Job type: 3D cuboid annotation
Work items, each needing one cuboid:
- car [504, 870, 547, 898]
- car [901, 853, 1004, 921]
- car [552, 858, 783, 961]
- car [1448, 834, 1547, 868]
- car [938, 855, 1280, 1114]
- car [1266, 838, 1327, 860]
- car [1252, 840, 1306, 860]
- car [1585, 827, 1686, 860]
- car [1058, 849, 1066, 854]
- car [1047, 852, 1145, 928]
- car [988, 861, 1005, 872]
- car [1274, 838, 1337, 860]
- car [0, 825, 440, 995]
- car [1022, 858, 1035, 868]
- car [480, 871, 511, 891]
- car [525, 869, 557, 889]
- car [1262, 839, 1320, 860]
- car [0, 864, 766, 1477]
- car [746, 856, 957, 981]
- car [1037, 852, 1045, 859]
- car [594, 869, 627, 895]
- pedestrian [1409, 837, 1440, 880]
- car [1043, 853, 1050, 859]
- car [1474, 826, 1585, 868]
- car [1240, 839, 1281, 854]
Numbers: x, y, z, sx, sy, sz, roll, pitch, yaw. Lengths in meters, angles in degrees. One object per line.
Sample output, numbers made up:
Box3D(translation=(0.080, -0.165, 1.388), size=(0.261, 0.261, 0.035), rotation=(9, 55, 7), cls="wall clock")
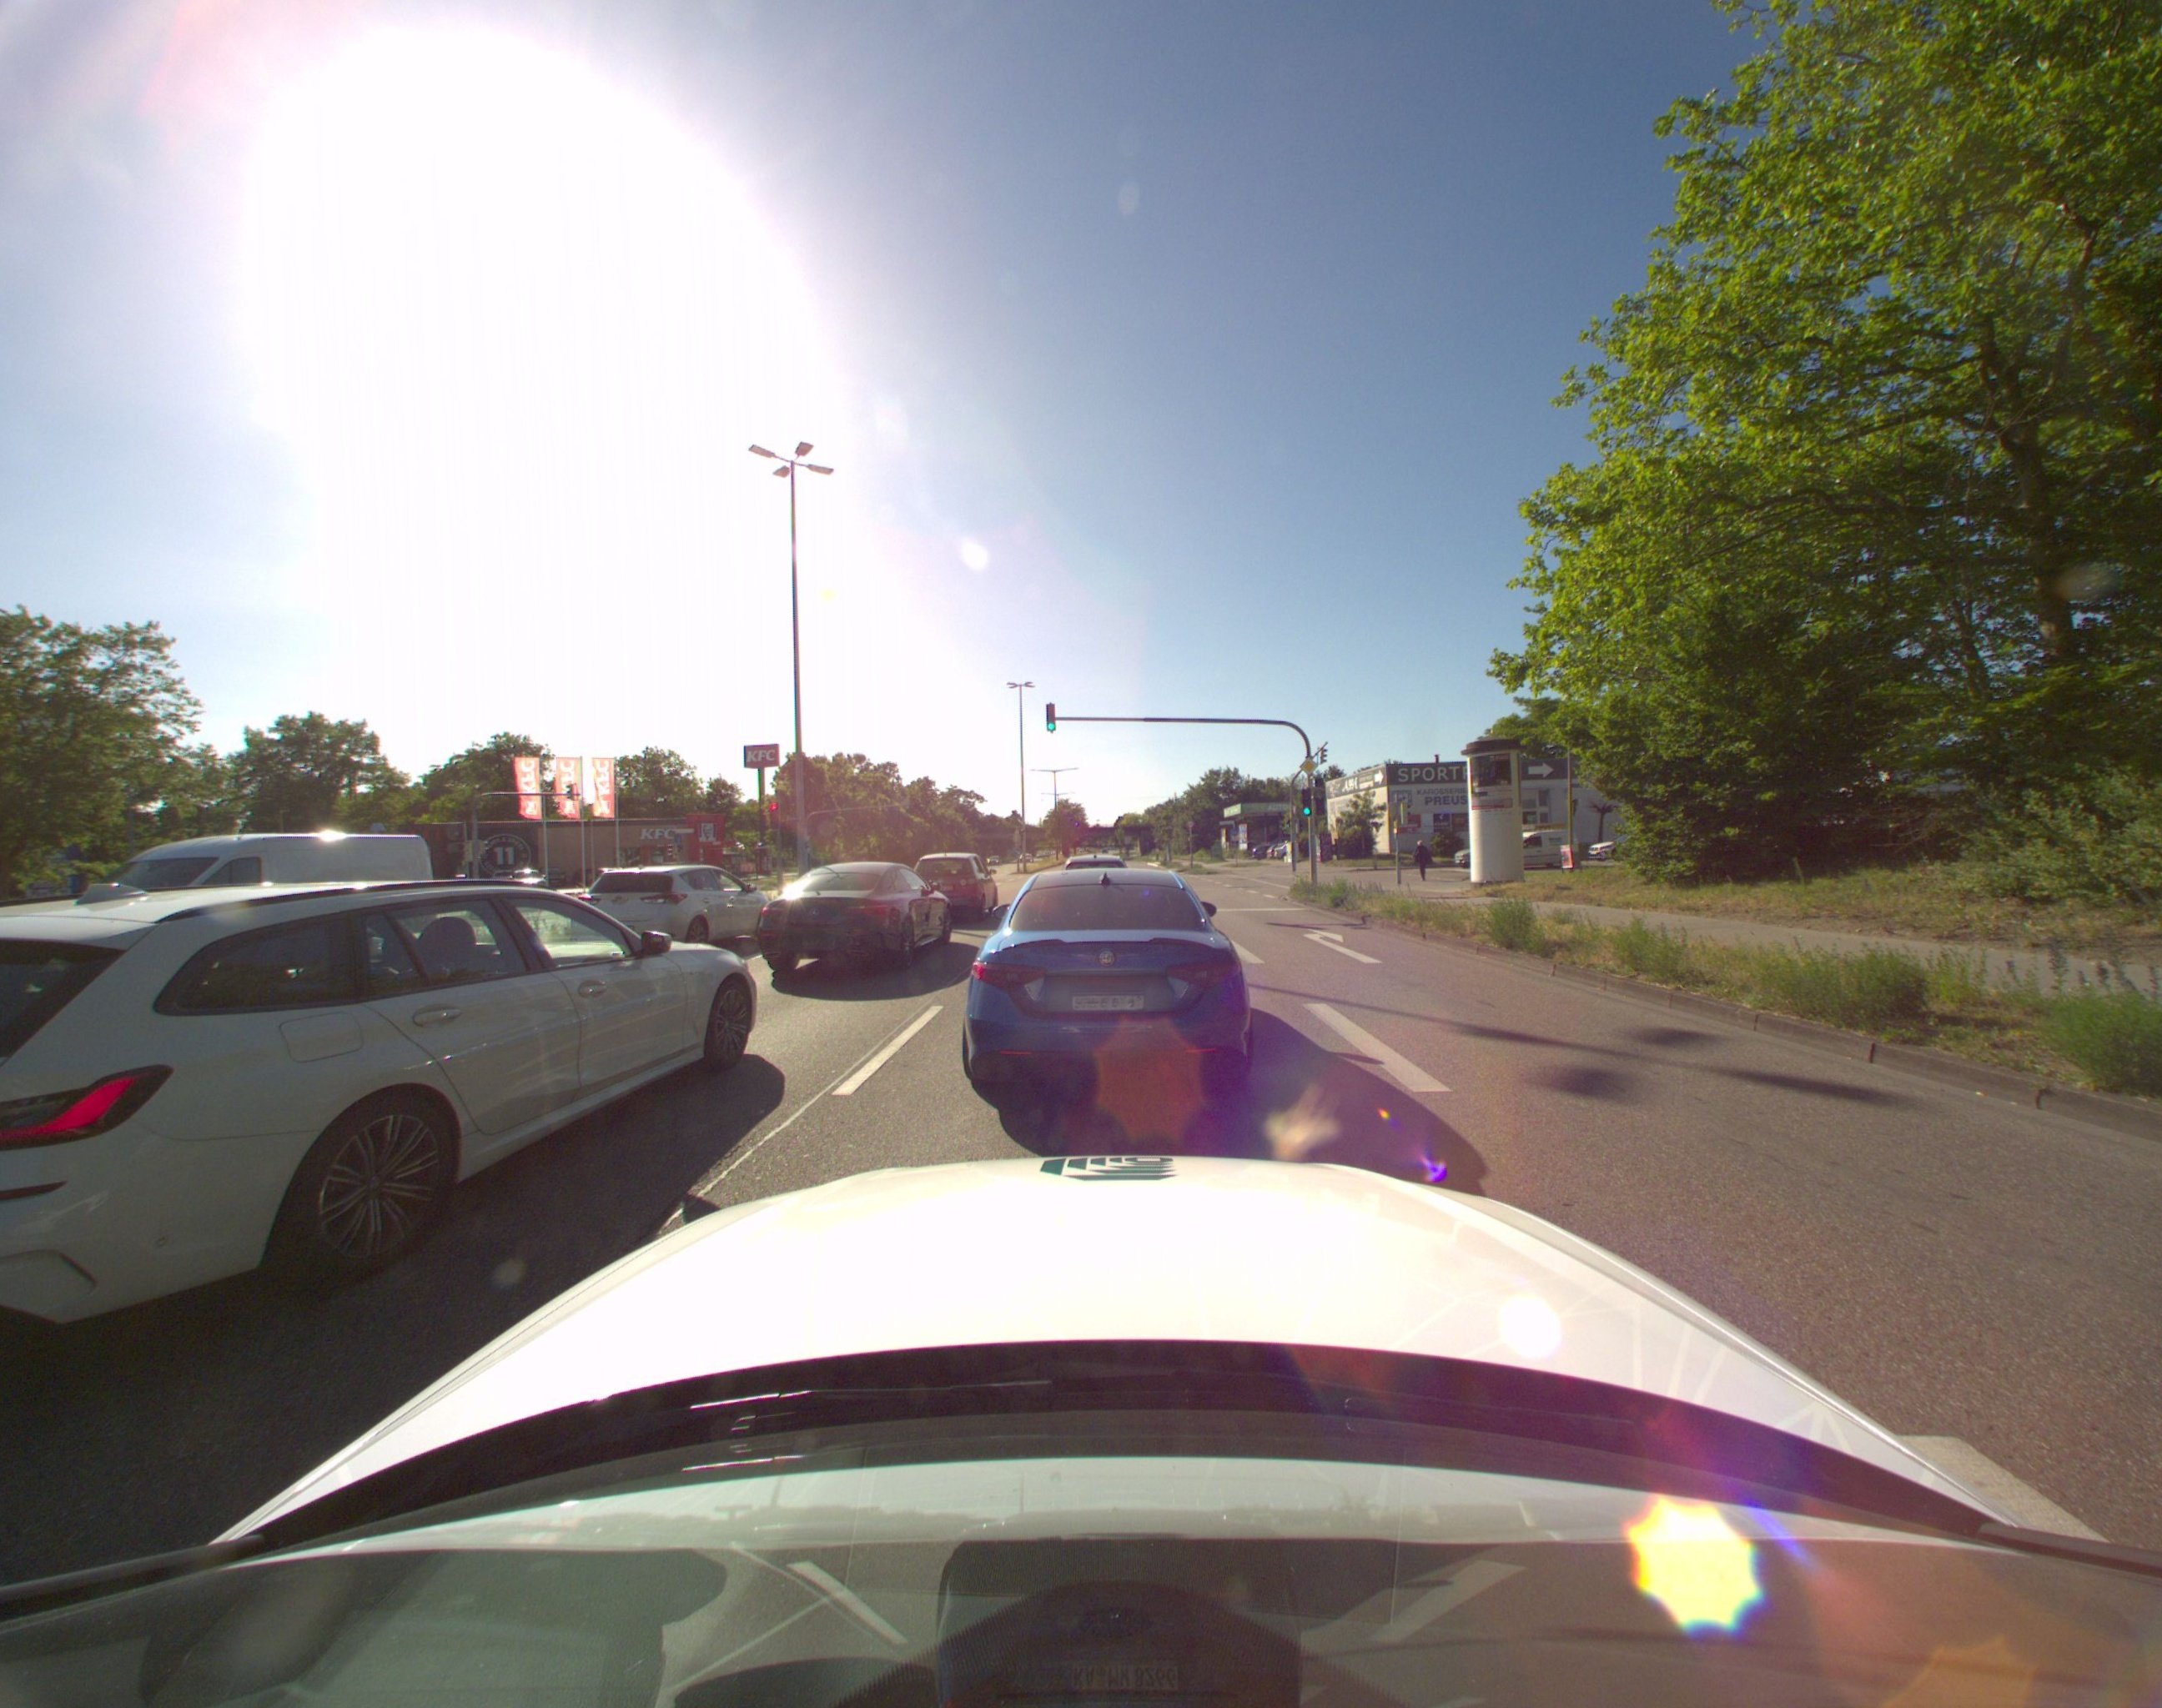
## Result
Box3D(translation=(-37.335, 1.957, 54.858), size=(2.005, 1.765, 4.315), rotation=(0, -1, -29), cls="car")
Box3D(translation=(-3.026, 0.739, 20.042), size=(1.753, 1.490, 4.403), rotation=(0, -1, 1), cls="car")
Box3D(translation=(-6.788, 0.829, 13.958), size=(1.753, 1.490, 4.197), rotation=(0, -1, 1), cls="car")
Box3D(translation=(21.767, -0.193, 42.708), size=(4.273, 1.549, 1.765), rotation=(-3, 1, 0), cls="car")
Box3D(translation=(0.187, 0.742, 6.723), size=(1.889, 1.418, 4.403), rotation=(0, -1, 1), cls="car")
Box3D(translation=(17.710, -0.402, 67.098), size=(4.470, 1.454, 1.860), rotation=(-4, 0, 3), cls="car")
Box3D(translation=(17.946, -0.344, 73.901), size=(4.470, 1.454, 1.860), rotation=(-4, 0, 3), cls="car")
Box3D(translation=(29.088, -0.539, 42.780), size=(4.028, 1.490, 1.782), rotation=(-3, 0, -1), cls="car")
Box3D(translation=(-5.531, -0.743, 237.252), size=(1.752, 1.490, 4.480), rotation=(-3, 0, 2), cls="car")
Box3D(translation=(0.313, 0.701, 17.529), size=(1.844, 1.418, 4.403), rotation=(0, -1, 1), cls="car")
Box3D(translation=(-12.448, 1.769, 120.050), size=(1.752, 1.490, 4.480), rotation=(-3, 0, 2), cls="car")
Box3D(translation=(17.704, -0.416, 64.317), size=(4.470, 1.454, 1.860), rotation=(-4, 0, 3), cls="car")
Box3D(translation=(-15.561, 0.865, 15.265), size=(2.013, 2.447, 5.827), rotation=(-5, 0, 4), cls="car")
Box3D(translation=(-8.745, 1.441, 135.662), size=(1.752, 1.490, 3.839), rotation=(-3, 0, 2), cls="car")
Box3D(translation=(-45.637, 2.046, 63.404), size=(1.670, 1.471, 3.872), rotation=(0, -1, -40), cls="car")
Box3D(translation=(-43.144, 1.977, 65.057), size=(1.670, 1.471, 3.872), rotation=(0, -1, -40), cls="car")
Box3D(translation=(17.987, -0.373, 69.847), size=(4.470, 1.454, 1.860), rotation=(-4, 0, 3), cls="car")
Box3D(translation=(-3.403, 0.812, 4.214), size=(1.779, 1.490, 4.403), rotation=(0, -1, 1), cls="car")
Box3D(translation=(-3.121, 0.796, 12.097), size=(1.790, 1.490, 4.476), rotation=(0, -1, 1), cls="car")
Box3D(translation=(-9.983, 0.413, 202.069), size=(1.609, 1.559, 3.359), rotation=(0, -1, 2), cls="car")
Box3D(translation=(-33.666, 1.951, 58.338), size=(1.920, 1.752, 4.315), rotation=(0, -1, -29), cls="car")
Box3D(translation=(14.253, 0.183, 33.803), size=(0.922, 1.735, 0.939), rotation=(0, -1, 1), cls="pedestrian")
Box3D(translation=(-9.332, 0.588, 220.328), size=(1.603, 1.647, 3.464), rotation=(0, -1, 2), cls="car")
Box3D(translation=(21.636, -0.339, 39.374), size=(4.367, 1.801, 1.765), rotation=(-3, 1, 0), cls="car")
Box3D(translation=(21.390, -0.869, 97.010), size=(4.532, 1.490, 1.766), rotation=(-4, 0, 3), cls="car")
